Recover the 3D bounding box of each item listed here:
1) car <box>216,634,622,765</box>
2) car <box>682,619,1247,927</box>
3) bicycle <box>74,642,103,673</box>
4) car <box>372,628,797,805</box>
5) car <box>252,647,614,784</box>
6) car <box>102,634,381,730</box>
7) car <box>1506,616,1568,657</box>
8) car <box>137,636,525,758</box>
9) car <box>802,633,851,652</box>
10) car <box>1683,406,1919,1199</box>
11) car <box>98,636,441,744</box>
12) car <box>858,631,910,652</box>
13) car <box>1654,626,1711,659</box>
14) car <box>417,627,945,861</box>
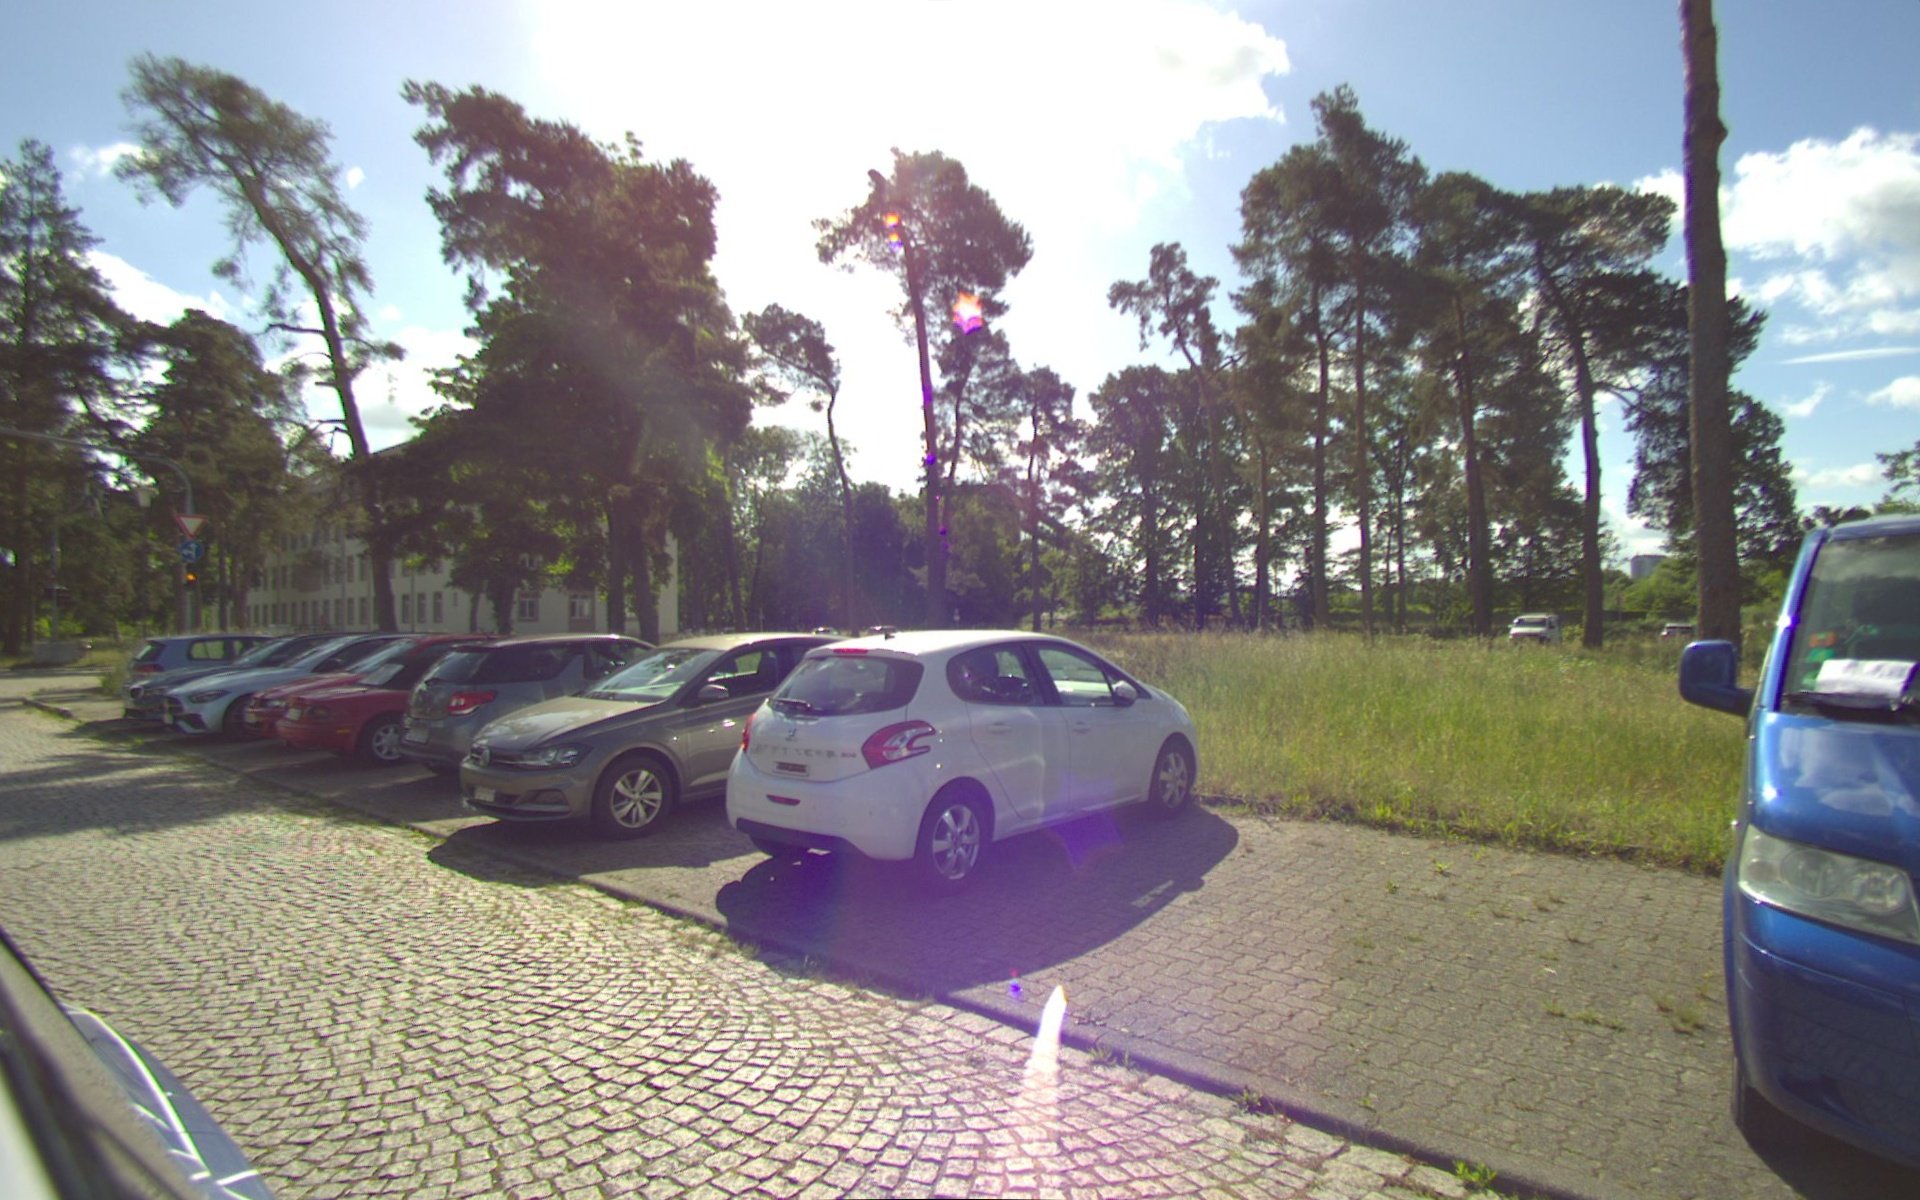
[{"bbox_3d":[-7.579,1.278,14.626,1.937,1.431,4.814,-2,-1,41],"label":"car"},{"bbox_3d":[0.302,0.933,7.322,1.823,1.486,4.153,-2,-1,41],"label":"car"},{"bbox_3d":[-39.044,2.571,45.339,2.113,1.293,0.613,-2,0,39],"label":"bicycle"},{"bbox_3d":[-3.968,1.102,11.194,1.821,1.463,4.033,-1,0,42],"label":"car"},{"bbox_3d":[-6.366,1.298,12.488,1.759,1.243,3.592,-1,0,42],"label":"car"},{"bbox_3d":[-13.623,1.482,19.369,1.947,1.494,3.987,-3,-2,39],"label":"car"},{"bbox_3d":[31.843,2.019,55.794,1.956,2.180,4.794,-2,-3,42],"label":"car"},{"bbox_3d":[-9.621,1.365,15.841,1.937,1.431,4.814,-1,0,41],"label":"car"},{"bbox_3d":[-11.441,3.637,86.852,1.720,1.593,4.051,-2,-3,42],"label":"car"},{"bbox_3d":[4.033,0.538,3.548,2.004,1.983,4.669,-2,-1,40],"label":"car"},{"bbox_3d":[-11.756,1.434,17.525,1.981,1.463,4.538,-1,-1,37],"label":"car"},{"bbox_3d":[-6.078,3.370,81.450,1.840,1.642,4.002,-2,-3,42],"label":"car"},{"bbox_3d":[36.903,2.143,51.652,1.912,1.617,4.183,-2,-3,42],"label":"car"},{"bbox_3d":[-2.213,1.014,8.812,1.922,1.436,4.033,-2,-1,42],"label":"car"}]
